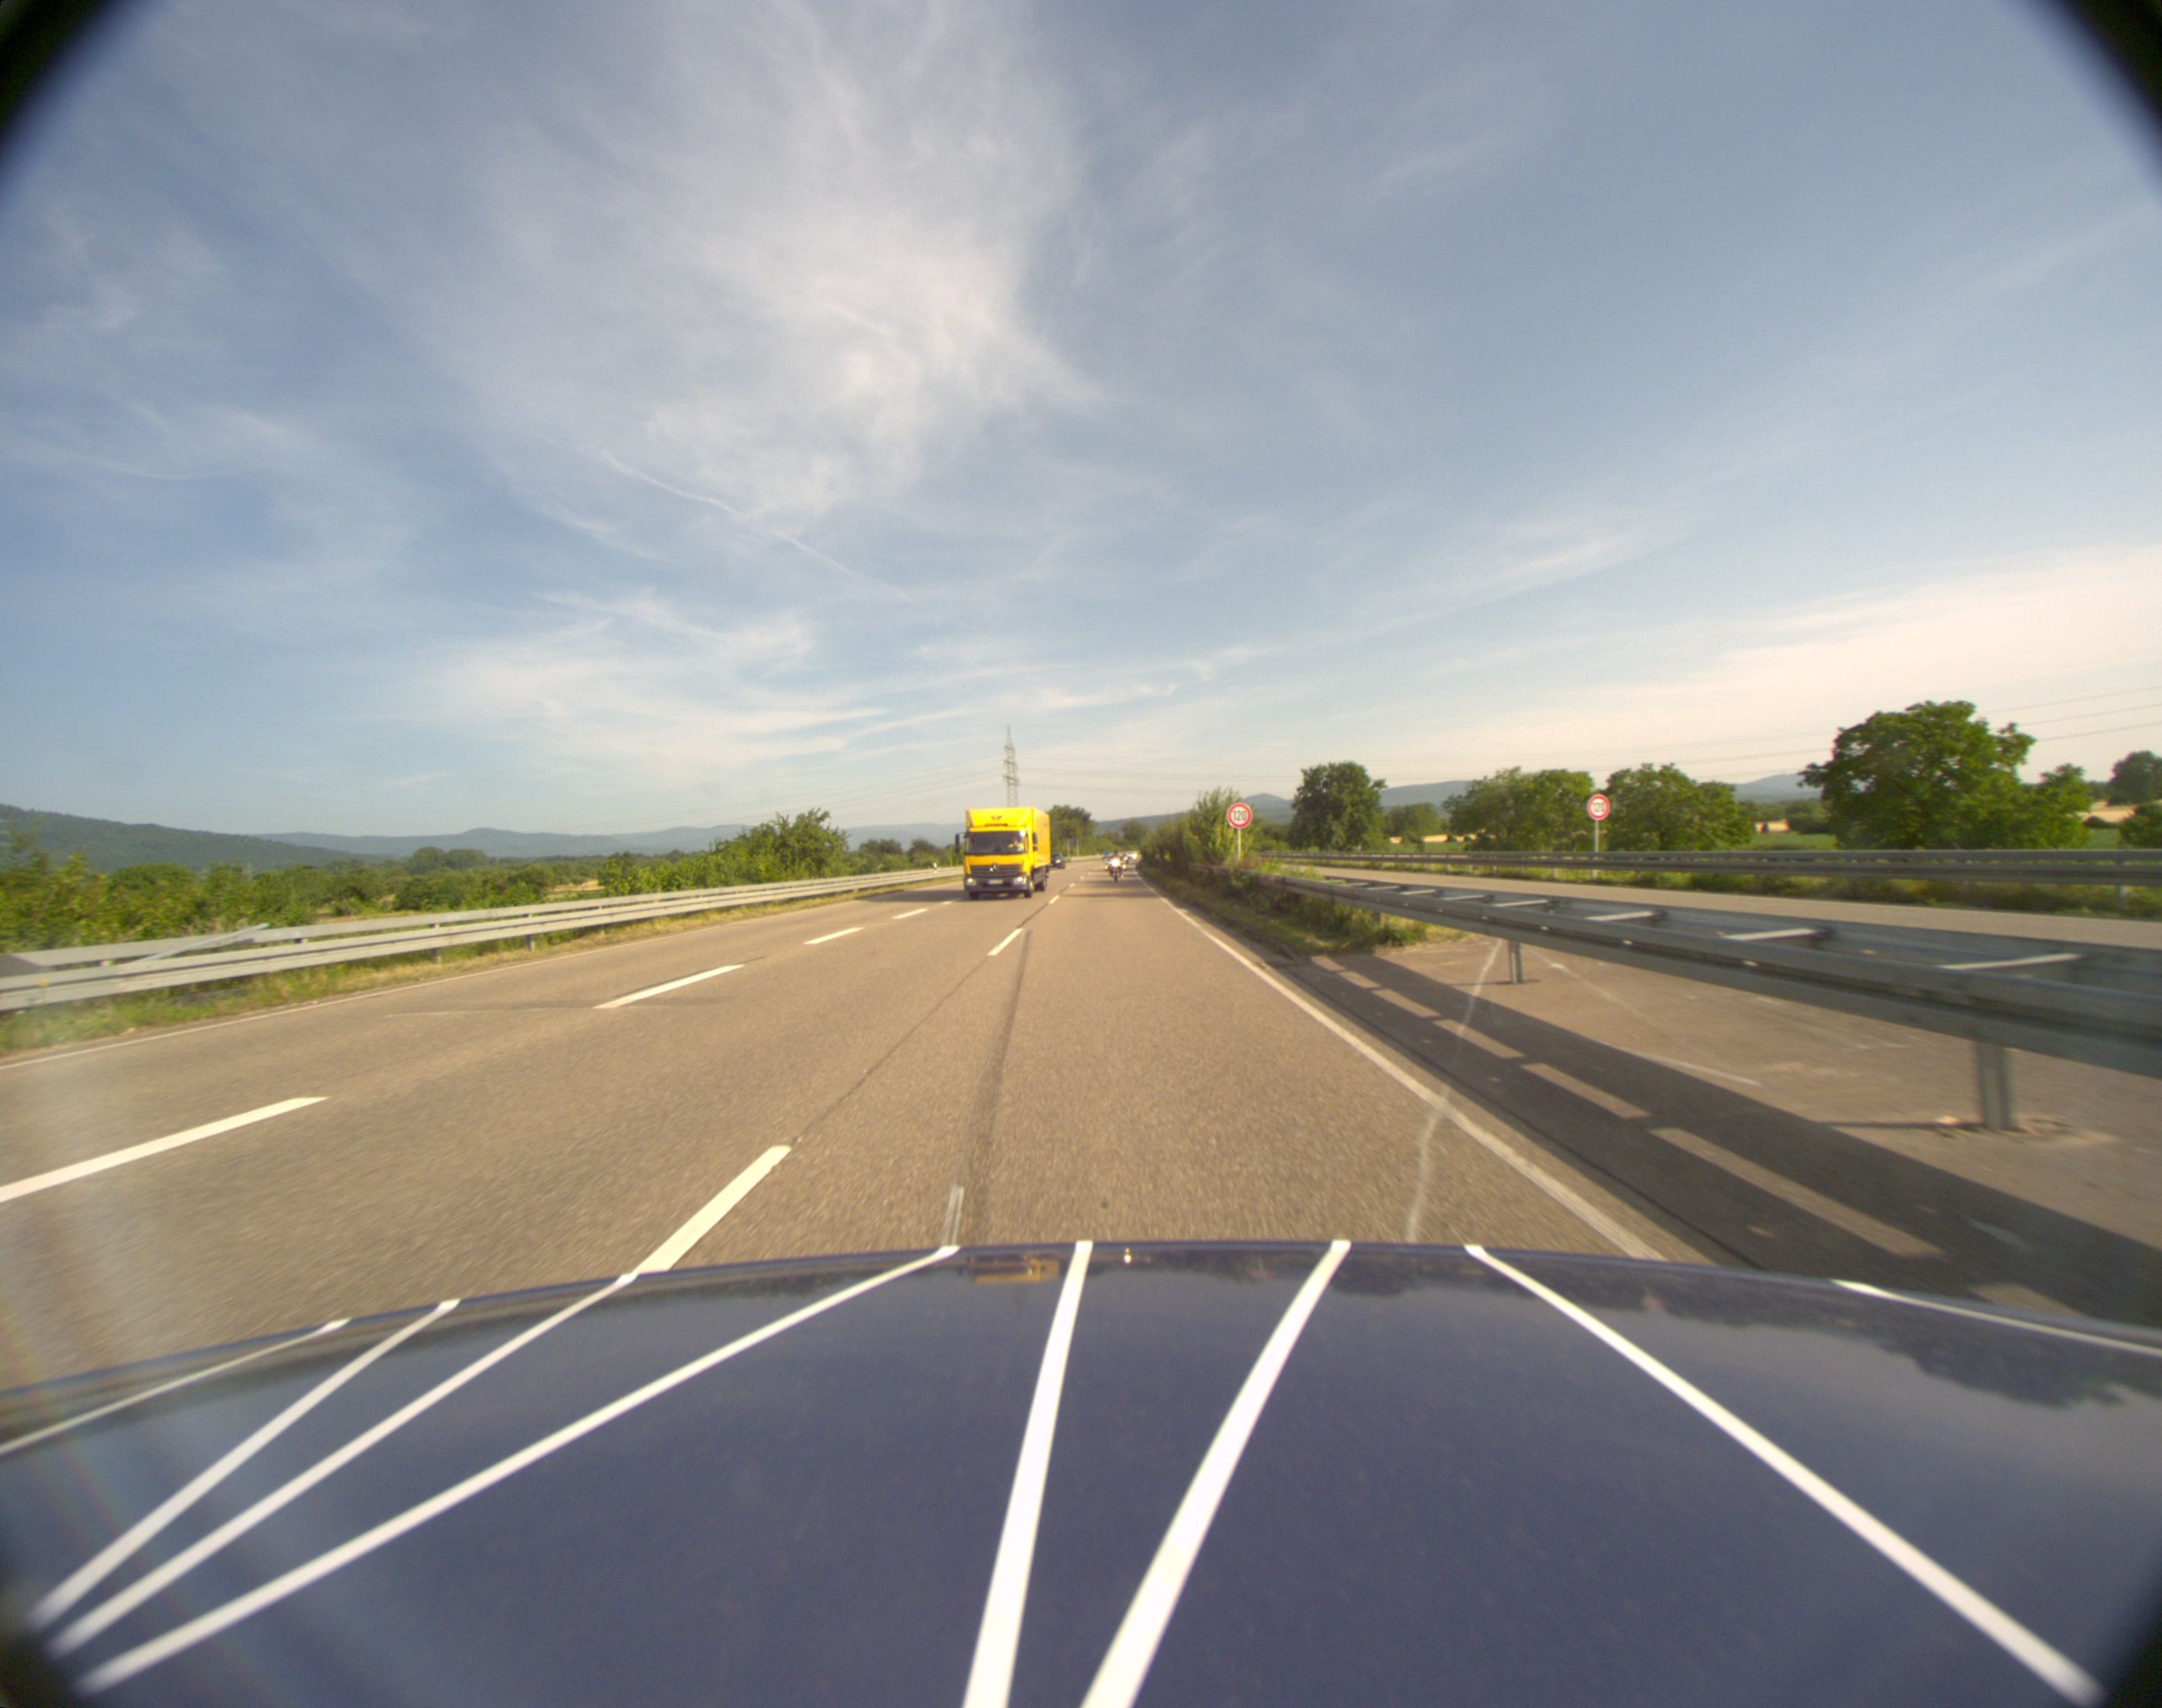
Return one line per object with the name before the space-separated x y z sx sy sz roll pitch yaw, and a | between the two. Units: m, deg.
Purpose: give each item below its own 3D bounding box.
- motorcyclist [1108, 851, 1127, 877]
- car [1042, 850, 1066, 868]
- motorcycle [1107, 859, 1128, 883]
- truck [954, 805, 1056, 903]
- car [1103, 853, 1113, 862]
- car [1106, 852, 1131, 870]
motorcyclist | 1.987 0.528 41.170 0.936 1.344 1.143 -1 1 8
car | -2.763 0.500 78.056 1.877 1.630 4.001 -2 1 6
motorcycle | 2.010 0.903 41.250 0.936 1.132 2.583 -1 1 7
truck | -2.825 -0.023 31.595 2.785 3.297 10.489 -2 0 2
car | 4.949 0.560 138.982 1.677 1.541 3.827 -2 1 3
car | 3.357 0.604 67.274 1.868 1.454 4.085 -2 1 6
